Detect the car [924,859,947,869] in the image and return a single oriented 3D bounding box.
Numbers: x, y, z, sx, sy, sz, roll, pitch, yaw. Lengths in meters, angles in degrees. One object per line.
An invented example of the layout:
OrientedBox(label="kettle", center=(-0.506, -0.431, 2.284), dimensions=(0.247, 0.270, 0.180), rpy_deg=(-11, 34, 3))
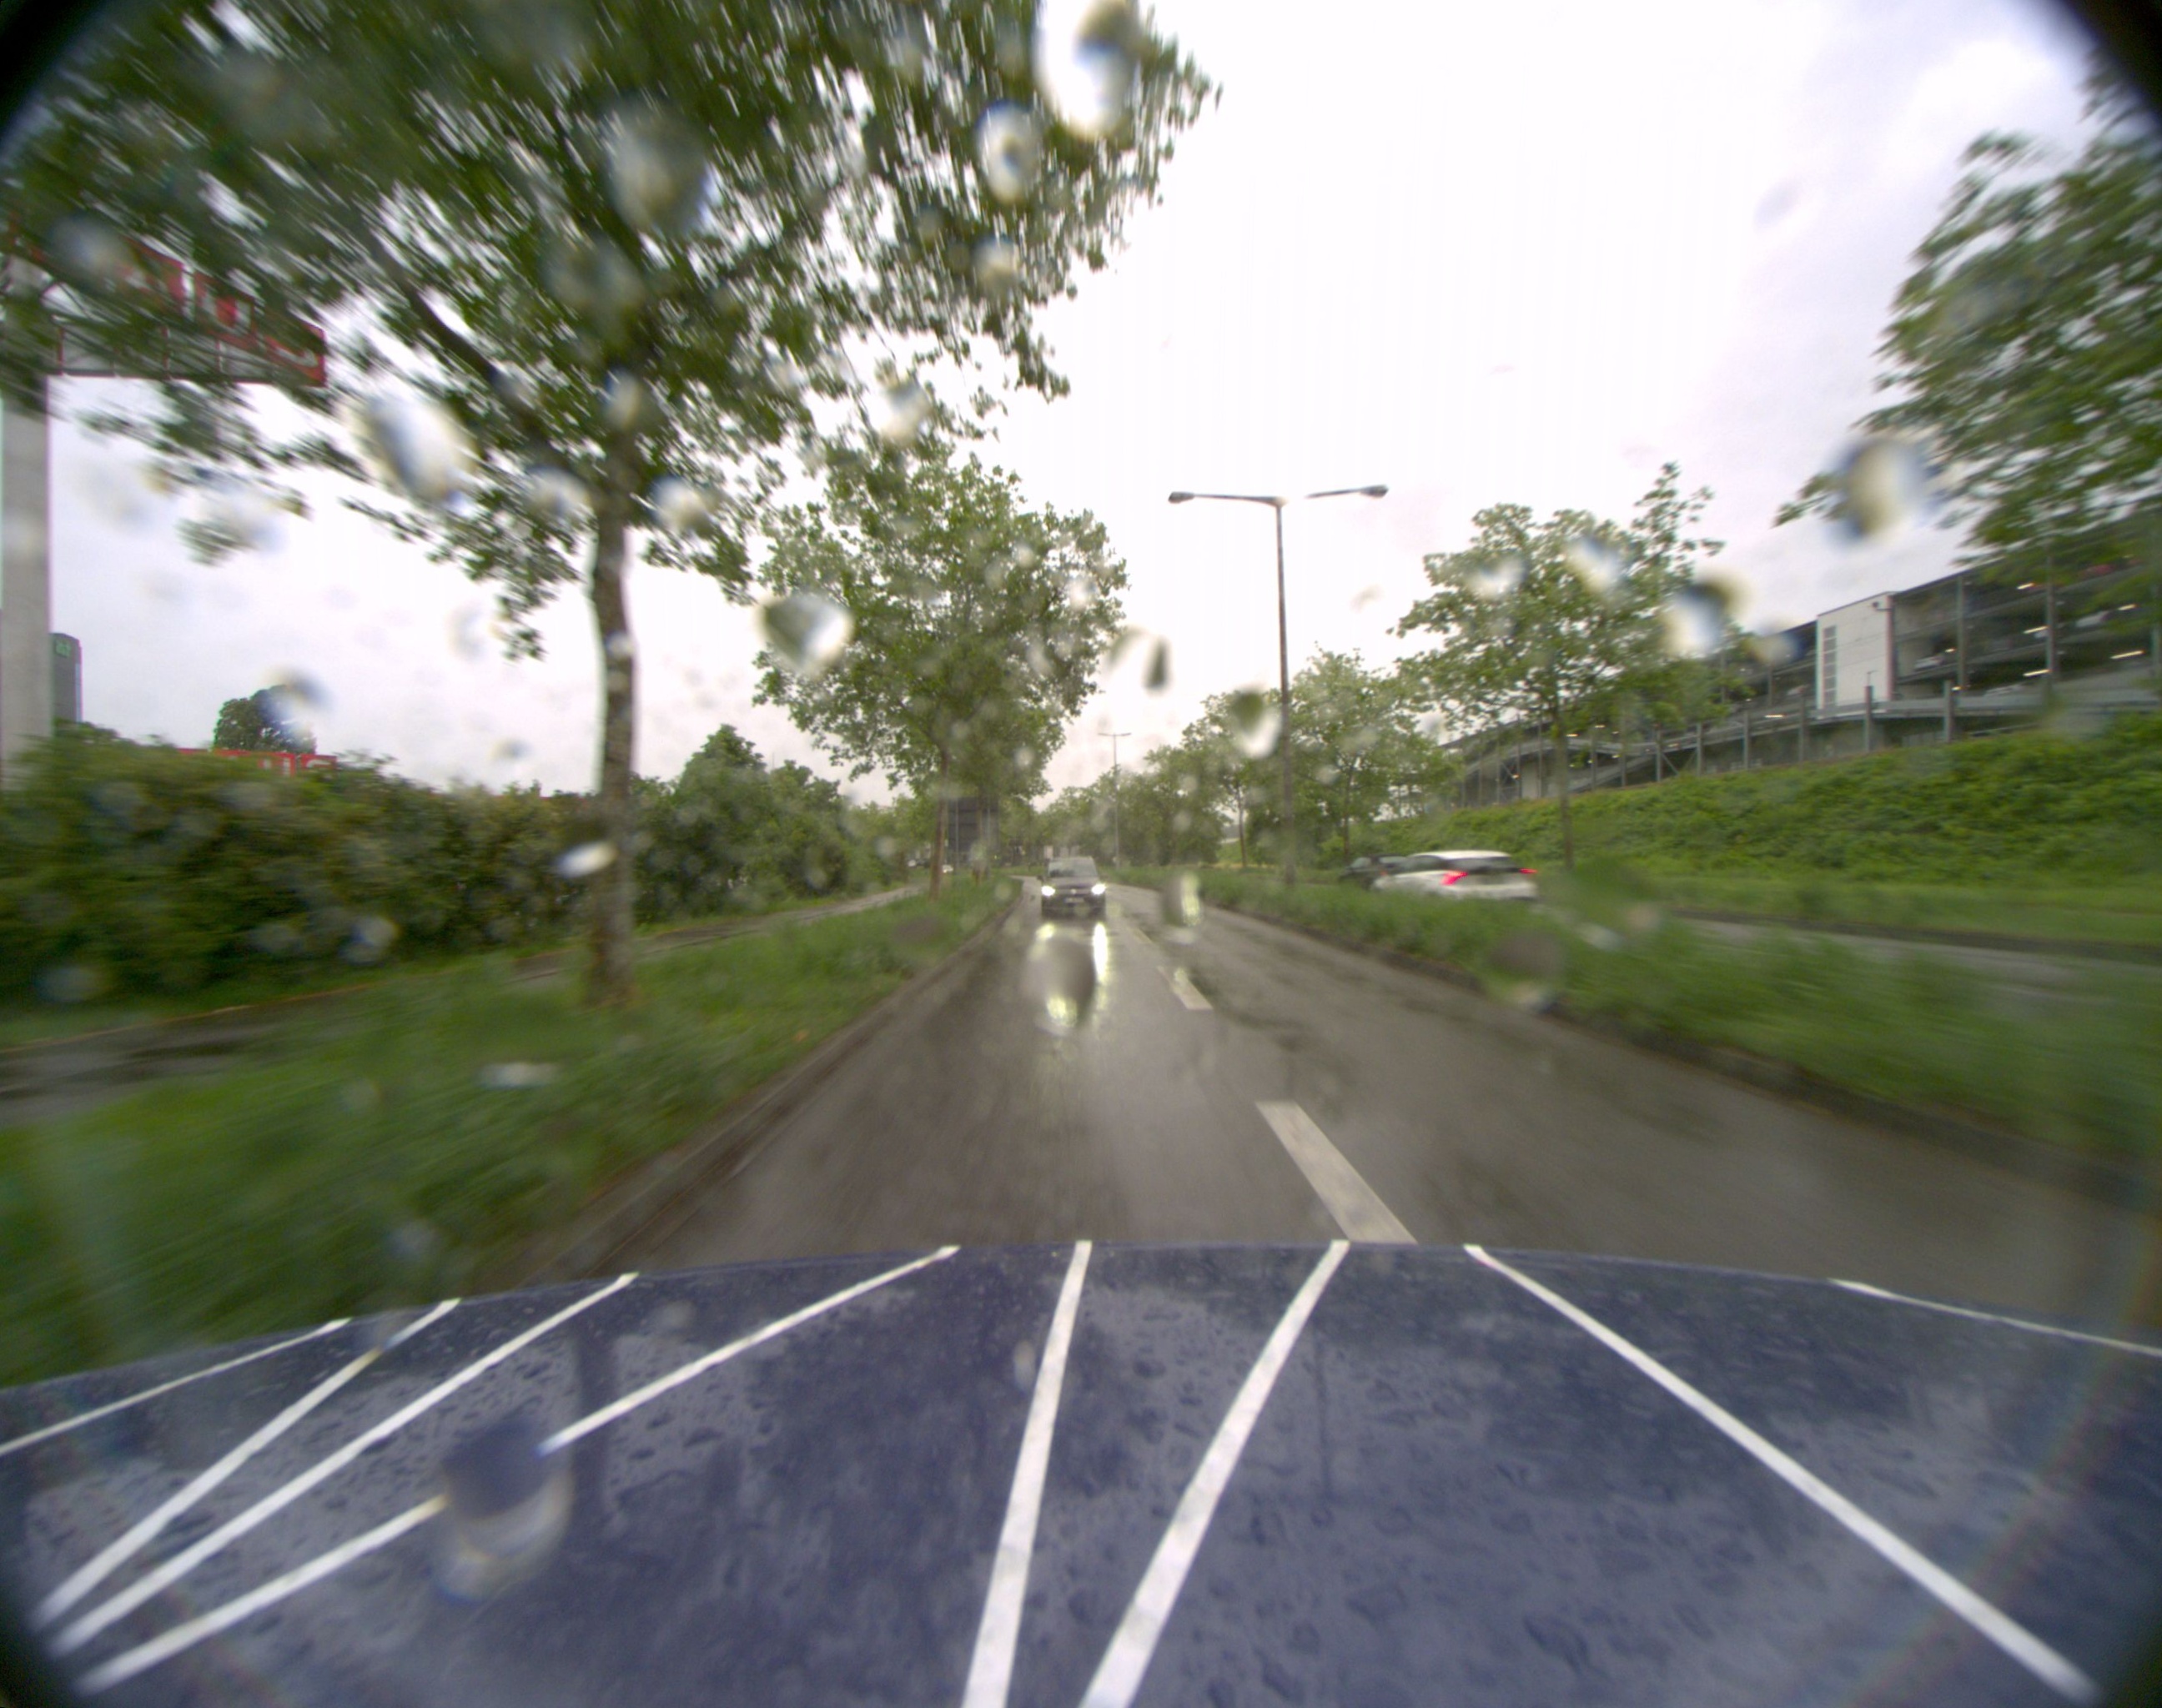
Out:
OrientedBox(label="car", center=(-27.592, 1.848, 144.158), dimensions=(1.860, 1.650, 4.007), rpy_deg=(-2, 1, 40))

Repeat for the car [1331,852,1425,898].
OrientedBox(label="car", center=(10.189, 0.673, 26.339), dimensions=(1.635, 1.417, 4.000), rpy_deg=(-2, 0, 0))

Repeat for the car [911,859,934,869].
OrientedBox(label="car", center=(-30.756, 1.903, 147.643), dimensions=(1.860, 1.650, 4.007), rpy_deg=(-2, 1, 40))

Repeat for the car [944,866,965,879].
OrientedBox(label="car", center=(-16.794, 2.446, 100.845), dimensions=(2.002, 1.641, 3.993), rpy_deg=(-2, 0, -21))

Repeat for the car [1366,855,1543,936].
OrientedBox(label="car", center=(7.873, 0.791, 16.502), dimensions=(1.706, 1.486, 4.204), rpy_deg=(-2, 0, 0))

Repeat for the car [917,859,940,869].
OrientedBox(label="car", center=(-29.298, 1.868, 145.875), dimensions=(1.860, 1.650, 4.007), rpy_deg=(-2, 1, 40))

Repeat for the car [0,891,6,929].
OrientedBox(label="car", center=(-45.939, 2.380, 30.515), dimensions=(1.943, 1.625, 4.327), rpy_deg=(-2, 0, -38))

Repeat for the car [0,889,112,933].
OrientedBox(label="car", center=(-44.033, 2.378, 32.624), dimensions=(1.943, 1.625, 4.327), rpy_deg=(-2, 0, -38))

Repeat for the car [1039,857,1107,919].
OrientedBox(label="car", center=(-0.276, 0.923, 22.605), dimensions=(1.788, 1.605, 4.715), rpy_deg=(0, 0, -2))

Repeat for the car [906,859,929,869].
OrientedBox(label="car", center=(-32.134, 1.937, 149.347), dimensions=(1.860, 1.650, 4.007), rpy_deg=(-2, 1, 40))
